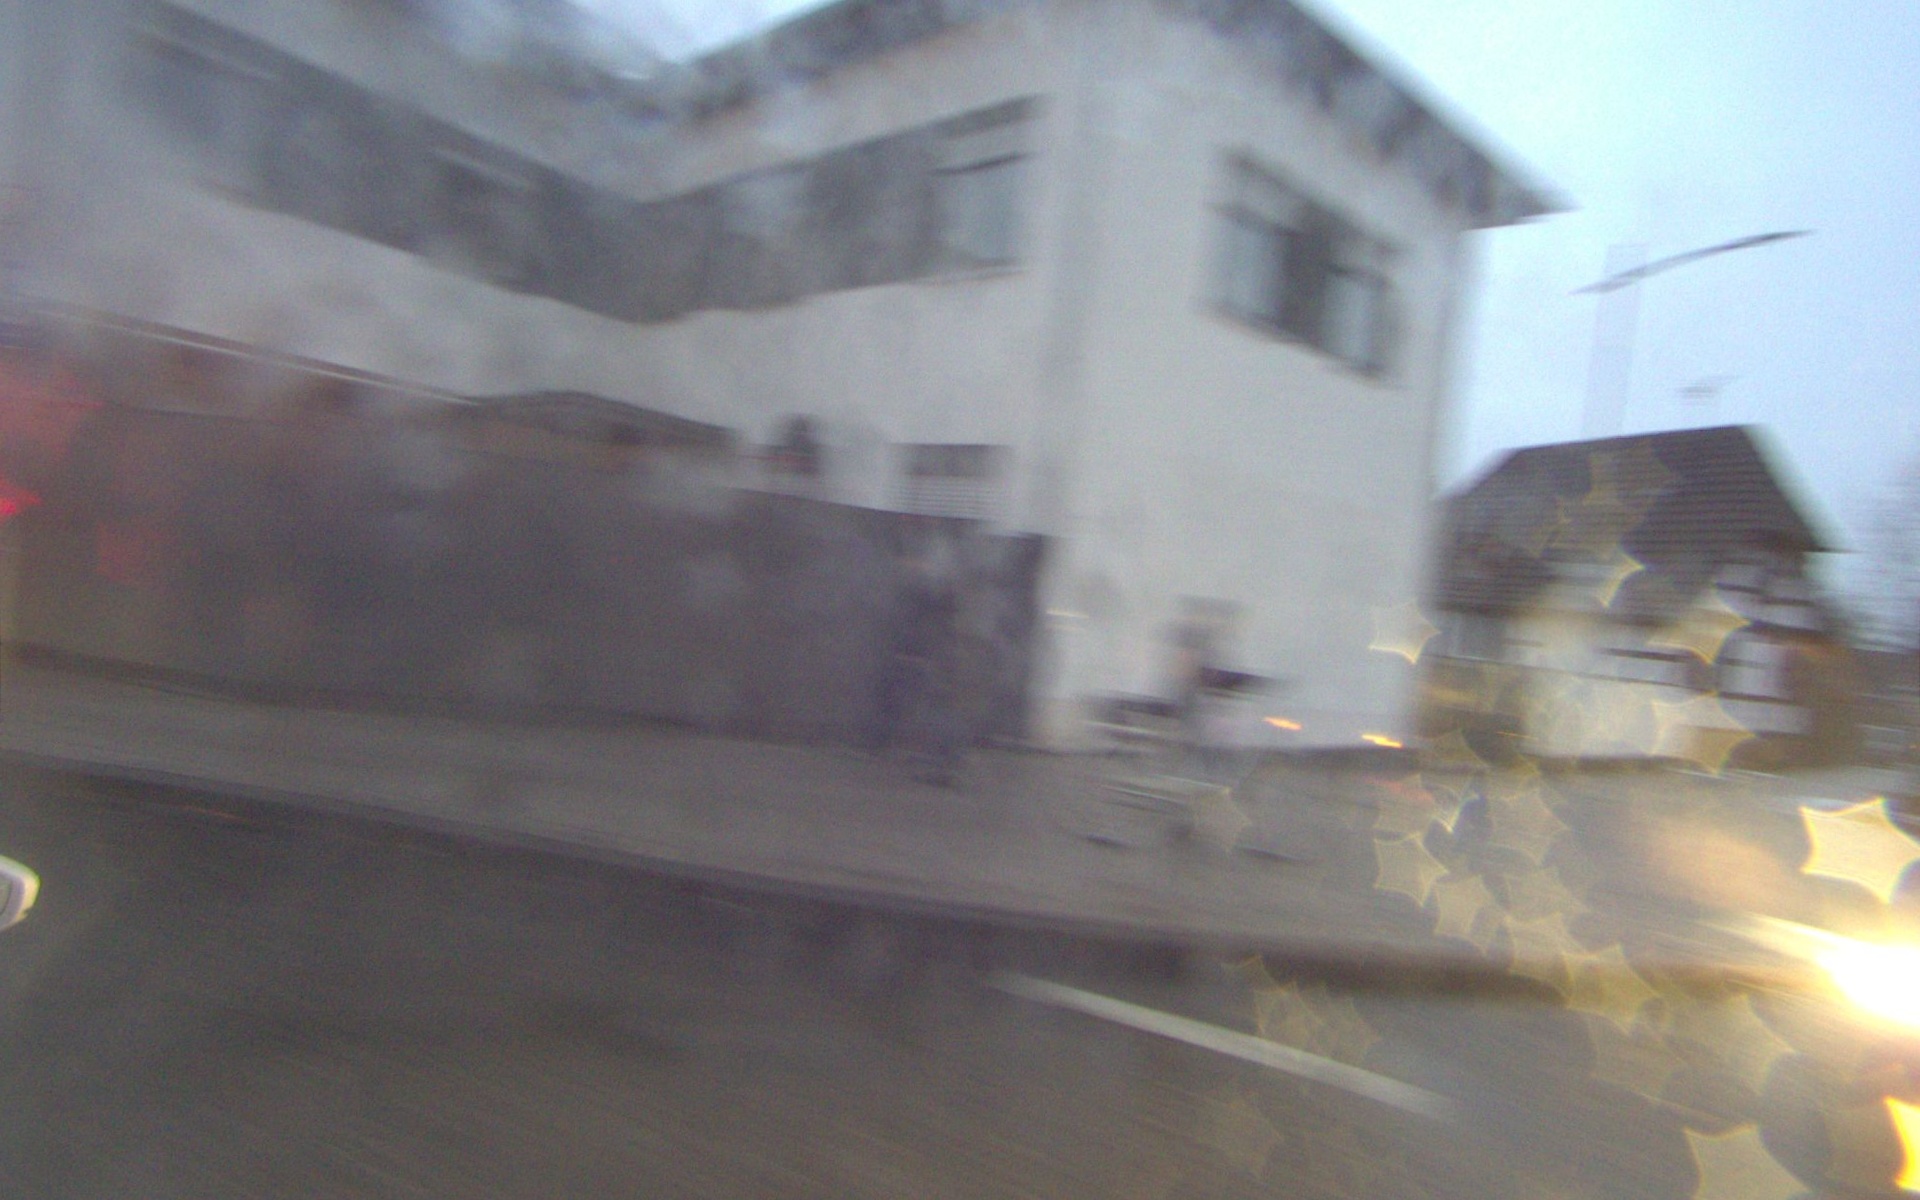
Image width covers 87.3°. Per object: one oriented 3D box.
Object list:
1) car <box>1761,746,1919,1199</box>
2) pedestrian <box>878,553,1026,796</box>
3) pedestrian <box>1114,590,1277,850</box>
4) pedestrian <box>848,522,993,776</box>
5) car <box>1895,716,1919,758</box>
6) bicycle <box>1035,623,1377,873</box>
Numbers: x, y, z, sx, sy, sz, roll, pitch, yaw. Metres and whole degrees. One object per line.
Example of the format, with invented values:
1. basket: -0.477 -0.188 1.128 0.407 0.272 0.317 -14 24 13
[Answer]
1. car: 5.149 1.474 3.911 4.191 1.400 1.836 7 -2 -32
2. pedestrian: -0.067 0.529 7.290 0.708 1.642 0.578 6 2 -26
3. pedestrian: 1.552 0.778 6.734 0.680 1.585 0.608 7 3 -10
4. pedestrian: -0.322 0.375 7.882 0.708 1.856 0.633 6 4 -26
5. car: 50.789 7.190 51.271 1.961 2.039 4.902 3 -1 5
6. bicycle: 1.550 0.938 6.439 1.910 1.313 0.550 7 3 -10
